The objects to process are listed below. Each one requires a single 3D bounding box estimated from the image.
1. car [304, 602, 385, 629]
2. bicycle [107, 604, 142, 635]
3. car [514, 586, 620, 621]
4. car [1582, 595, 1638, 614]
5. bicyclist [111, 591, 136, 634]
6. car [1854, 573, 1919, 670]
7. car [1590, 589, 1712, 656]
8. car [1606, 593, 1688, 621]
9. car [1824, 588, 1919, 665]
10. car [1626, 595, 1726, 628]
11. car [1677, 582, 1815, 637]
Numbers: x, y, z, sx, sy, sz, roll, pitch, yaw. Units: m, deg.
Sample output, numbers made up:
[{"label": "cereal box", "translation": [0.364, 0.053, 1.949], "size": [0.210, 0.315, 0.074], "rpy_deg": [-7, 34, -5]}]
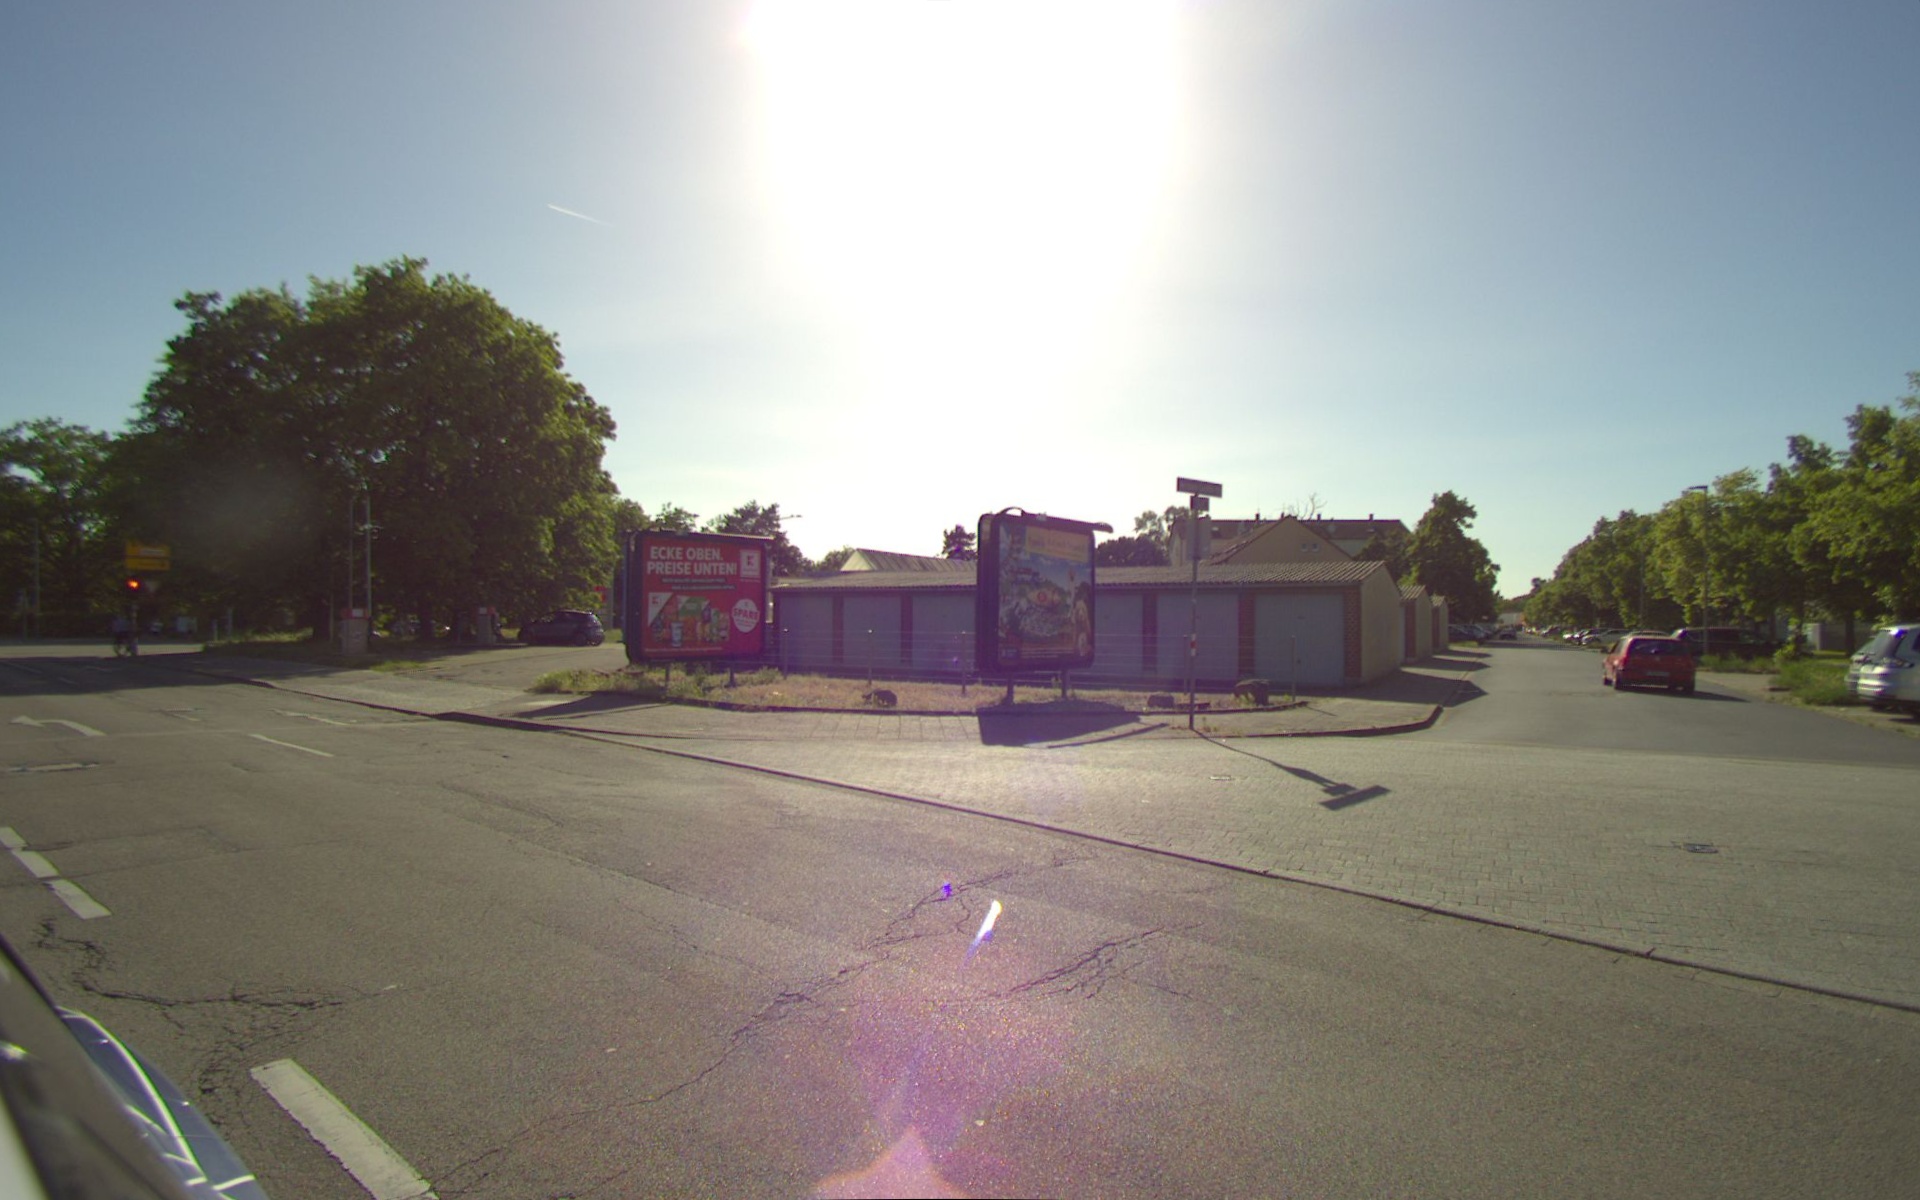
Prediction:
[{"label": "car", "translation": [-36.634, 0.880, 60.320], "size": [1.685, 1.450, 3.874], "rpy_deg": [2, 2, 28]}, {"label": "bicycle", "translation": [-31.953, 0.737, 38.704], "size": [2.021, 1.150, 0.522], "rpy_deg": [-1, -1, 36]}, {"label": "car", "translation": [-17.183, 0.159, 44.313], "size": [3.950, 1.386, 1.757], "rpy_deg": [2, 0, 6]}, {"label": "car", "translation": [56.296, 0.398, 87.735], "size": [3.982, 1.632, 1.639], "rpy_deg": [-1, -2, 29]}, {"label": "bicyclist", "translation": [-32.082, 0.485, 38.815], "size": [0.828, 1.654, 0.536], "rpy_deg": [-1, -1, 35]}, {"label": "car", "translation": [18.402, 0.350, 17.665], "size": [3.865, 1.692, 1.686], "rpy_deg": [-1, -1, 30]}, {"label": "car", "translation": [18.194, 0.520, 26.858], "size": [2.008, 1.580, 4.355], "rpy_deg": [1, 1, 26]}, {"label": "car", "translation": [42.383, 0.436, 62.520], "size": [3.982, 1.632, 1.639], "rpy_deg": [-1, -2, 29]}, {"label": "car", "translation": [19.777, 0.506, 19.984], "size": [3.865, 1.517, 1.491], "rpy_deg": [-1, -1, 30]}, {"label": "car", "translation": [37.297, 0.595, 52.833], "size": [3.978, 1.632, 1.640], "rpy_deg": [0, 0, 26]}, {"label": "car", "translation": [29.291, 0.334, 37.752], "size": [3.998, 1.940, 1.822], "rpy_deg": [0, -1, 41]}]
